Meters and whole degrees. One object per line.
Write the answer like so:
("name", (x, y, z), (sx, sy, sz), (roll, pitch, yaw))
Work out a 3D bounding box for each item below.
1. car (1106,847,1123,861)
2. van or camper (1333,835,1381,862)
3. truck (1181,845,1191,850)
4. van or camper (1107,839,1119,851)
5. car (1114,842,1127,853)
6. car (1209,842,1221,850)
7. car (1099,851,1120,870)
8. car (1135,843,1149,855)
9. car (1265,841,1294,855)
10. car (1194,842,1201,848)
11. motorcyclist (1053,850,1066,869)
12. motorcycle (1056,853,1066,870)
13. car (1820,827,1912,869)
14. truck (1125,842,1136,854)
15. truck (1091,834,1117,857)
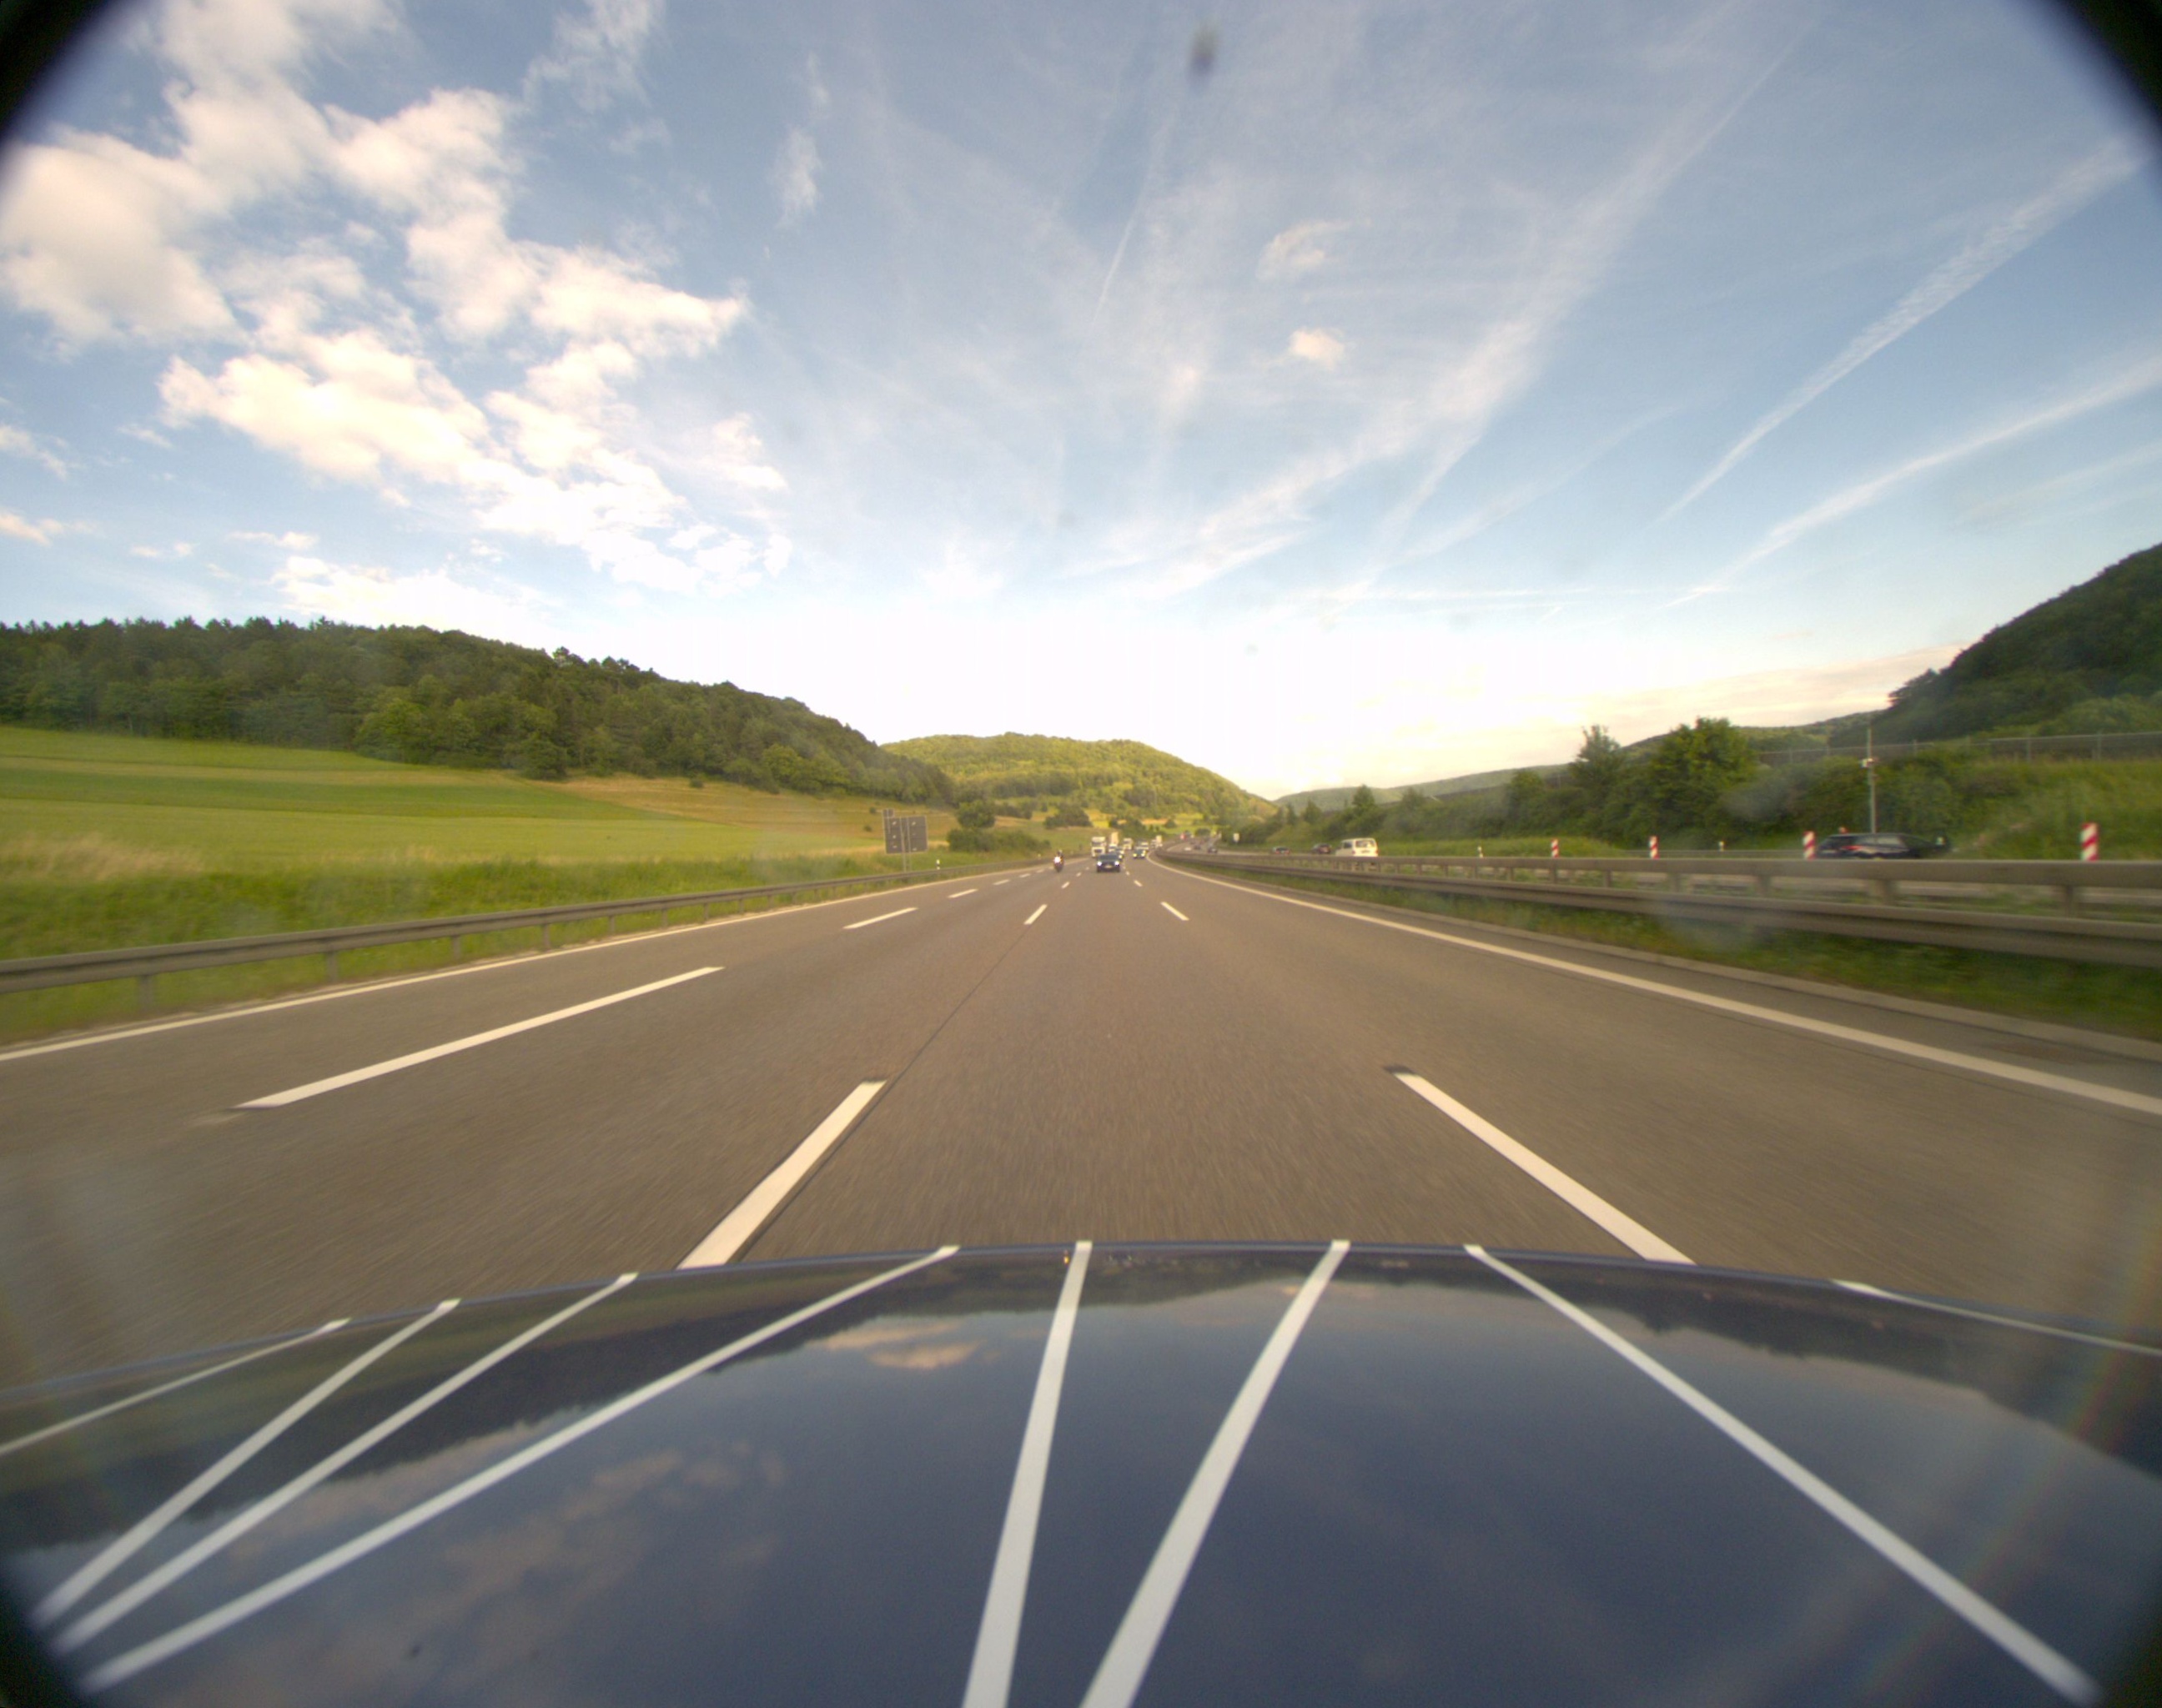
("car", (4.593, 0.007, 104.449), (1.997, 1.871, 4.002), (0, 1, 8))
("van or camper", (20.704, -0.420, 57.188), (1.920, 1.862, 4.754), (-1, 1, 1))
("truck", (27.755, -1.754, 200.894), (1.998, 1.357, 4.646), (-2, 1, 2))
("van or camper", (7.901, -2.230, 187.265), (1.997, 2.702, 7.526), (-1, 1, 10))
("car", (7.373, -1.247, 141.752), (1.997, 1.871, 4.002), (0, 1, 8))
("car", (28.213, -1.674, 159.926), (1.998, 1.488, 4.692), (-2, 1, 3))
("car", (2.230, 0.488, 58.892), (1.580, 1.311, 3.999), (-2, 2, 3))
("car", (9.913, -0.820, 123.875), (1.997, 1.871, 4.002), (0, 1, 8))
("car", (22.498, -0.692, 86.279), (1.999, 1.488, 4.691), (-2, 0, -1))
("car", (35.534, -2.730, 231.061), (1.997, 1.477, 4.002), (-2, 1, 9))
("motorcyclist", (-1.734, 0.439, 62.840), (0.878, 1.506, 0.798), (-2, 2, 9))
("motorcycle", (-1.646, 0.576, 62.527), (0.628, 1.331, 1.739), (-2, 2, 4))
("car", (31.579, -0.262, 30.522), (4.627, 1.542, 1.995), (-2, 1, -37))
("truck", (16.850, -2.116, 257.464), (2.924, 3.877, 13.012), (-2, 2, 7))
("truck", (4.653, -1.827, 150.812), (2.970, 3.970, 17.738), (-1, 2, 8))
